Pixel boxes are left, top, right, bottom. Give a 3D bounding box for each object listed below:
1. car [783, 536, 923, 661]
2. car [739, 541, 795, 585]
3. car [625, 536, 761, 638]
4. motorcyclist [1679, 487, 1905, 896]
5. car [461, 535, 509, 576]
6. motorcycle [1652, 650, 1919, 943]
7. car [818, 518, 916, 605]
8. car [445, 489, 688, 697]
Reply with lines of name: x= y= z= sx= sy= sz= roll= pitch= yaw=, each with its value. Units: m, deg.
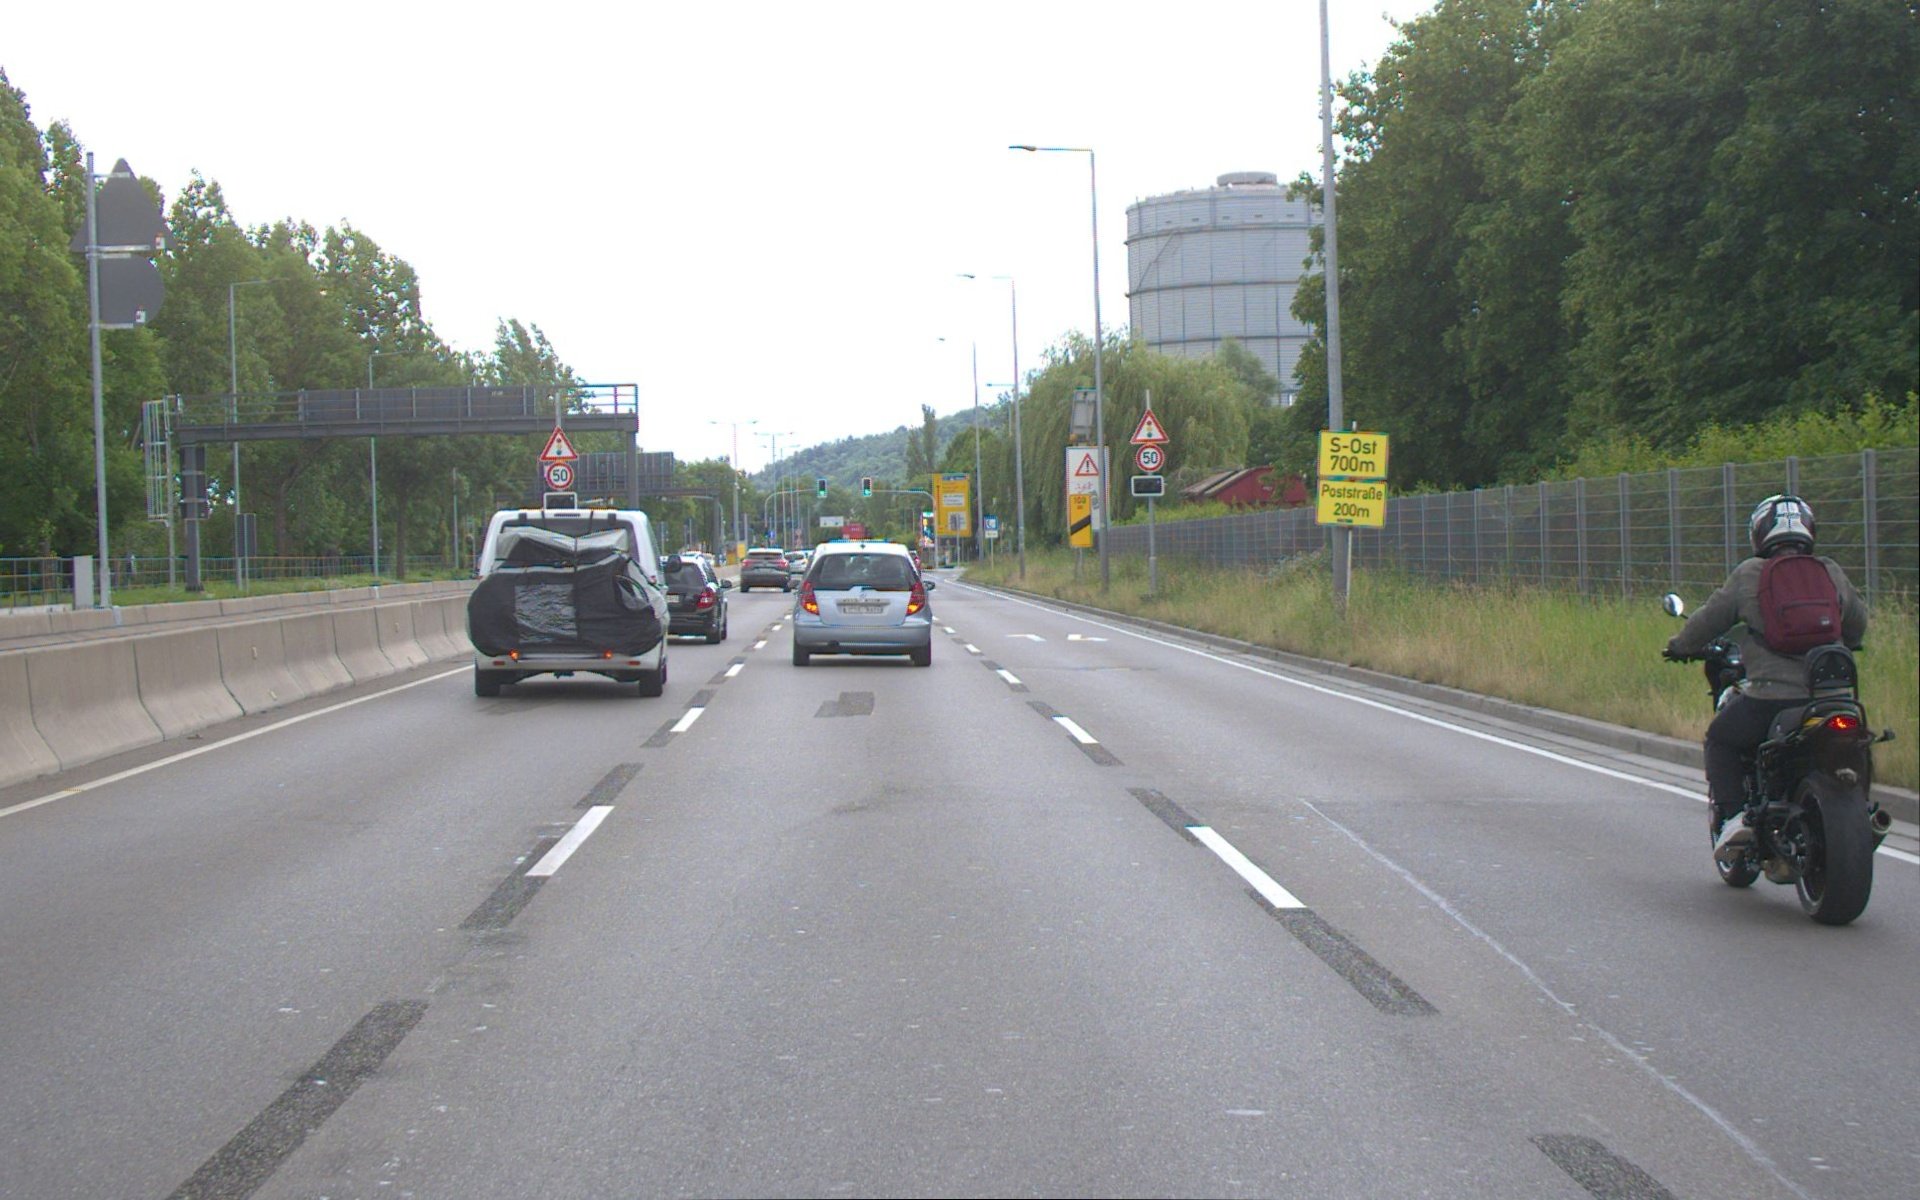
car: x=-1.397 y=-0.050 z=44.634 sx=1.710 sy=1.525 sz=4.000 roll=1 pitch=1 yaw=-2
car: x=-7.110 y=-1.371 z=126.717 sx=1.993 sy=1.546 sz=4.001 roll=1 pitch=1 yaw=-3
car: x=-4.214 y=-0.232 z=54.839 sx=1.993 sy=1.546 sz=4.000 roll=1 pitch=1 yaw=-2
motorcyclist: x=3.373 y=0.355 z=13.989 sx=0.685 sy=1.604 sz=0.845 roll=1 pitch=1 yaw=0
car: x=-23.528 y=-2.208 z=170.397 sx=1.993 sy=2.007 sz=4.001 roll=1 pitch=1 yaw=-2
motorcycle: x=3.379 y=0.757 z=13.980 sx=0.706 sy=1.036 sz=2.027 roll=1 pitch=1 yaw=0
car: x=-1.890 y=-0.791 z=69.933 sx=1.907 sy=1.678 sz=4.000 roll=1 pitch=1 yaw=-1
car: x=-3.894 y=-0.106 z=34.786 sx=2.214 sy=1.919 sz=5.003 roll=1 pitch=1 yaw=-4
